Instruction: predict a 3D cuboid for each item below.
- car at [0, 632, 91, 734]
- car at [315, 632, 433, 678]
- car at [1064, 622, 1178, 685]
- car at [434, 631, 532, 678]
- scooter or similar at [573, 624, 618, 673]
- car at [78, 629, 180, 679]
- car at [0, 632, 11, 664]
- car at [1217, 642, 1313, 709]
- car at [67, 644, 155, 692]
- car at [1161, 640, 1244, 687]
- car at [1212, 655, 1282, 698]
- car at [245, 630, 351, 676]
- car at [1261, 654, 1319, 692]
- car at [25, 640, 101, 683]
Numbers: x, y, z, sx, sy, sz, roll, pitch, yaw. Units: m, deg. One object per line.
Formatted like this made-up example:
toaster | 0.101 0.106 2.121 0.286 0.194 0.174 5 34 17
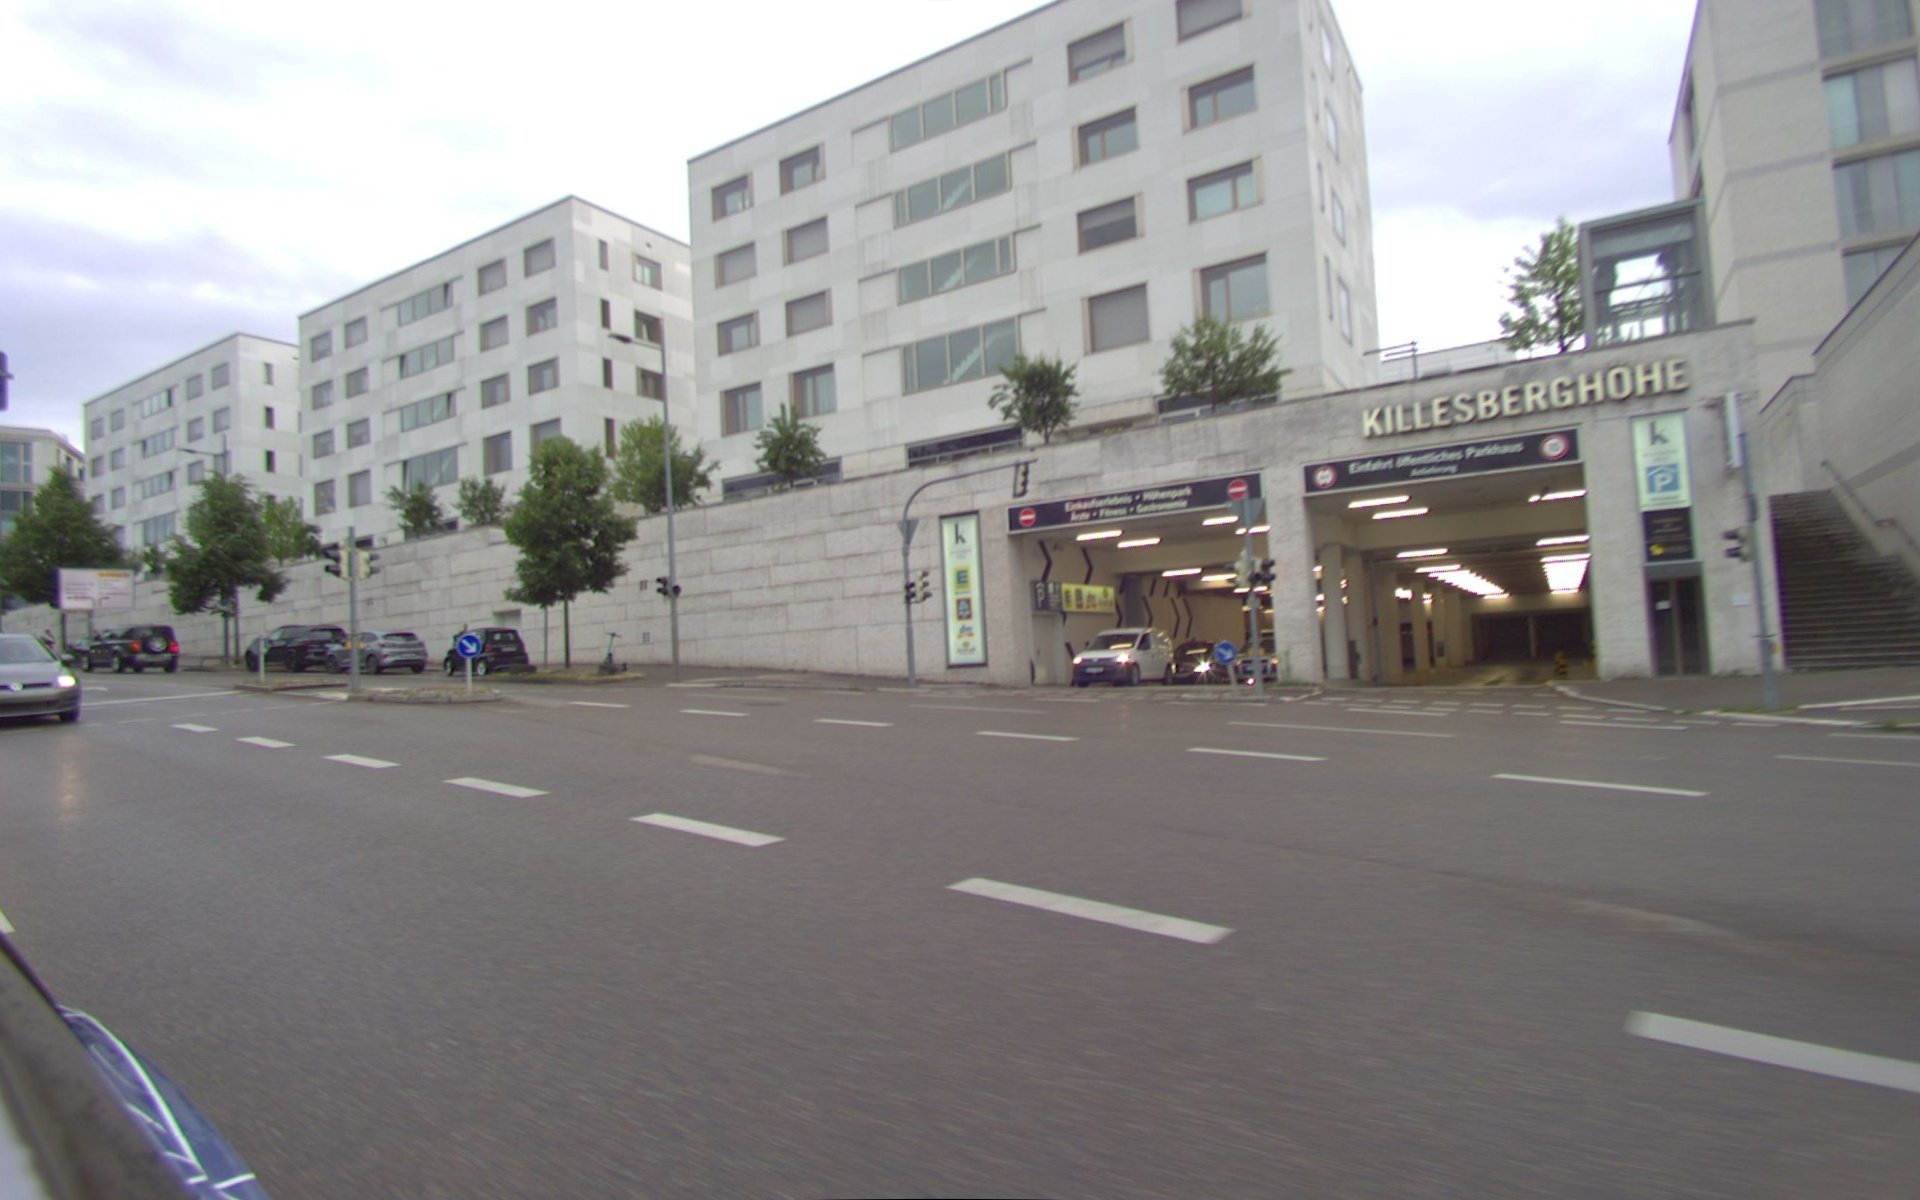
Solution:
car | -15.574 1.287 16.117 4.291 1.452 1.853 -2 0 38
car | -20.709 1.942 35.757 3.983 1.489 1.845 -2 -1 30
car | 4.829 1.519 29.897 1.991 1.664 4.304 -2 -1 29
car | -15.692 1.783 33.310 2.684 1.470 1.665 -2 -1 29
scooter or similar | -11.605 1.530 32.242 1.258 1.479 0.429 -1 -1 -27
car | -33.068 2.127 40.263 4.436 1.853 1.944 -2 -1 34
car | -55.553 2.784 57.258 3.991 1.763 1.976 -2 0 35
car | 9.479 2.262 31.271 1.794 1.785 3.956 -2 -1 32
car | -39.703 3.191 47.285 4.372 2.029 1.904 -4 -1 33
car | 8.608 2.191 35.676 1.603 1.455 4.155 -2 -1 32
car | 11.575 3.035 40.643 1.603 1.455 4.155 -2 -1 32
car | -25.054 1.990 38.283 3.983 1.644 1.772 -2 -1 30
car | 15.127 3.299 46.291 1.603 1.455 4.155 -2 -1 32
car | -48.084 3.300 54.228 4.372 2.029 1.904 -4 -1 33
